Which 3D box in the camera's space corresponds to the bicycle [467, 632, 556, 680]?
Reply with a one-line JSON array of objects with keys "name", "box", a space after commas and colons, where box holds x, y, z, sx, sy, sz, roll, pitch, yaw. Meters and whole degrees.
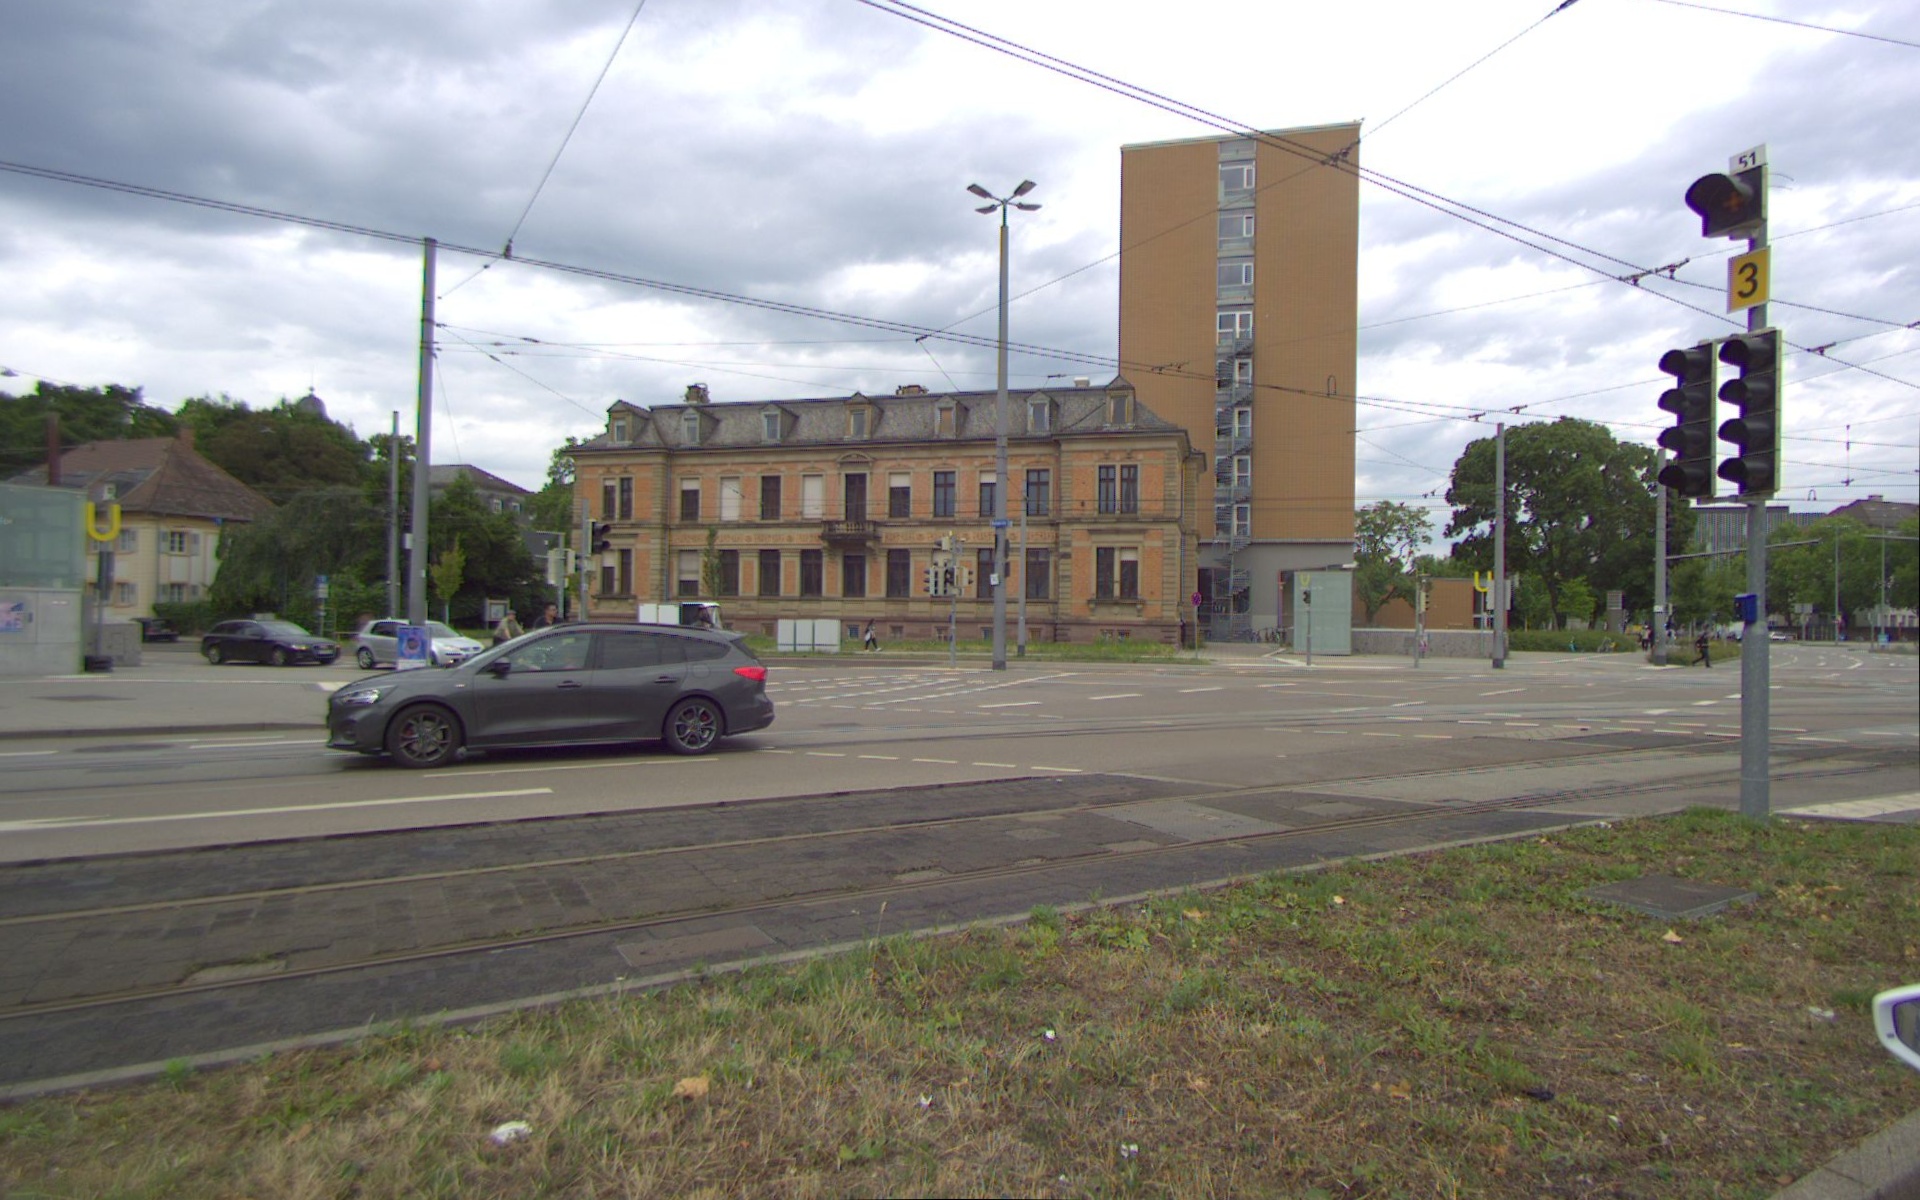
[{"name": "bicycle", "box": [-11.868, 1.466, 26.600, 2.154, 1.224, 0.857, 0, -2, 20]}]

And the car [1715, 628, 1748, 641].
[{"name": "car", "box": [94.919, 4.271, 123.671, 1.746, 1.483, 4.002, 1, -1, 14]}]

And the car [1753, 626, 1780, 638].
[{"name": "car", "box": [108.782, 4.331, 135.448, 1.747, 1.483, 3.999, 1, 0, 22]}]

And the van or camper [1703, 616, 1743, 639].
[{"name": "van or camper", "box": [108.253, 3.846, 142.517, 2.347, 3.165, 5.507, 1, -1, 12]}]

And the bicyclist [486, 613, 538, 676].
[{"name": "bicyclist", "box": [-11.858, 1.167, 26.608, 0.899, 1.644, 0.855, 0, -1, 20]}]

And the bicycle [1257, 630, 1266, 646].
[{"name": "bicycle", "box": [22.195, 2.809, 73.968, 0.561, 1.120, 1.428, 1, -1, 18]}]

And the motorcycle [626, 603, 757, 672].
[{"name": "motorcycle", "box": [-8.422, 1.136, 31.570, 3.614, 2.040, 1.696, 1, -1, 19]}]

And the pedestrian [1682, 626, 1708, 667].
[{"name": "pedestrian", "box": [37.619, 2.359, 51.434, 1.009, 2.040, 0.842, 0, -1, 41]}]

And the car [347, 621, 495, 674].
[{"name": "car", "box": [-16.247, 1.382, 30.261, 4.081, 1.473, 1.761, 0, -1, 23]}]

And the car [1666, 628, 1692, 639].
[{"name": "car", "box": [113.890, 5.288, 159.140, 1.745, 1.483, 4.002, 1, 0, 11]}]

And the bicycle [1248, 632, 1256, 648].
[{"name": "bicycle", "box": [21.552, 2.932, 74.135, 0.561, 1.120, 1.428, 1, -1, 18]}]

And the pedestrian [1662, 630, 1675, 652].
[{"name": "pedestrian", "box": [66.561, 3.825, 94.387, 0.868, 2.007, 0.792, 0, -2, 42]}]

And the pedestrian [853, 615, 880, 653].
[{"name": "pedestrian", "box": [-4.473, 1.617, 48.063, 1.104, 1.786, 0.759, 1, -1, 8]}]

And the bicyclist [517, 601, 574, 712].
[{"name": "bicyclist", "box": [-7.087, 0.938, 17.160, 0.805, 1.822, 1.022, 0, 0, -28]}]

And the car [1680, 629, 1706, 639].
[{"name": "car", "box": [109.923, 5.073, 150.621, 1.746, 1.483, 4.002, 1, 0, 15]}]

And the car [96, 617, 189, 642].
[{"name": "car", "box": [-45.036, 1.599, 55.356, 3.919, 1.305, 1.936, 1, -1, 12]}]

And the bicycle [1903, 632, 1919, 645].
[{"name": "bicycle", "box": [93.836, 3.760, 98.047, 2.676, 1.194, 0.942, 1, -1, -1]}]

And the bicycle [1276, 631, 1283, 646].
[{"name": "bicycle", "box": [23.393, 2.803, 73.646, 0.472, 1.063, 1.428, 1, -1, 18]}]

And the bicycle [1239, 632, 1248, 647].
[{"name": "bicycle", "box": [20.989, 2.915, 74.305, 0.561, 1.120, 1.428, 1, -1, 18]}]

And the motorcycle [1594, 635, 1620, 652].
[{"name": "motorcycle", "box": [43.682, 2.951, 67.842, 1.716, 1.126, 0.510, 1, -1, -17]}]

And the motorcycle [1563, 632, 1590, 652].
[{"name": "motorcycle", "box": [41.579, 2.809, 67.715, 1.443, 1.285, 0.512, 1, -1, 14]}]

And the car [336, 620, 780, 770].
[{"name": "car", "box": [-4.385, 0.961, 11.323, 4.336, 1.414, 1.687, 1, -1, -27]}]

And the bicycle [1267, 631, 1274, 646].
[{"name": "bicycle", "box": [22.819, 2.817, 73.769, 0.500, 1.063, 1.428, 1, -1, 18]}]

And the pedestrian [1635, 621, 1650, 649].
[{"name": "pedestrian", "box": [50.710, 2.618, 74.661, 0.781, 2.007, 0.880, 1, -2, 26]}]

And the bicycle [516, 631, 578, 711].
[{"name": "bicycle", "box": [-7.056, 1.169, 17.091, 0.805, 1.259, 1.986, 0, -2, -27]}]

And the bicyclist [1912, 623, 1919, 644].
[{"name": "bicyclist", "box": [93.847, 3.315, 98.039, 0.959, 2.040, 0.940, 1, -1, -1]}]

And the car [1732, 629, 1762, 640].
[{"name": "car", "box": [112.942, 4.951, 144.194, 1.745, 1.483, 4.002, 1, 0, 13]}]

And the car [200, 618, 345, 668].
[{"name": "car", "box": [-22.045, 1.354, 32.231, 4.061, 1.468, 1.697, 1, -1, 18]}]

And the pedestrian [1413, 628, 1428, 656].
[{"name": "pedestrian", "box": [23.105, 2.101, 50.399, 0.562, 1.353, 0.499, 1, -1, 10]}]

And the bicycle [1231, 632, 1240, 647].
[{"name": "bicycle", "box": [20.425, 2.912, 74.478, 0.561, 1.120, 1.428, 1, -1, 18]}]
